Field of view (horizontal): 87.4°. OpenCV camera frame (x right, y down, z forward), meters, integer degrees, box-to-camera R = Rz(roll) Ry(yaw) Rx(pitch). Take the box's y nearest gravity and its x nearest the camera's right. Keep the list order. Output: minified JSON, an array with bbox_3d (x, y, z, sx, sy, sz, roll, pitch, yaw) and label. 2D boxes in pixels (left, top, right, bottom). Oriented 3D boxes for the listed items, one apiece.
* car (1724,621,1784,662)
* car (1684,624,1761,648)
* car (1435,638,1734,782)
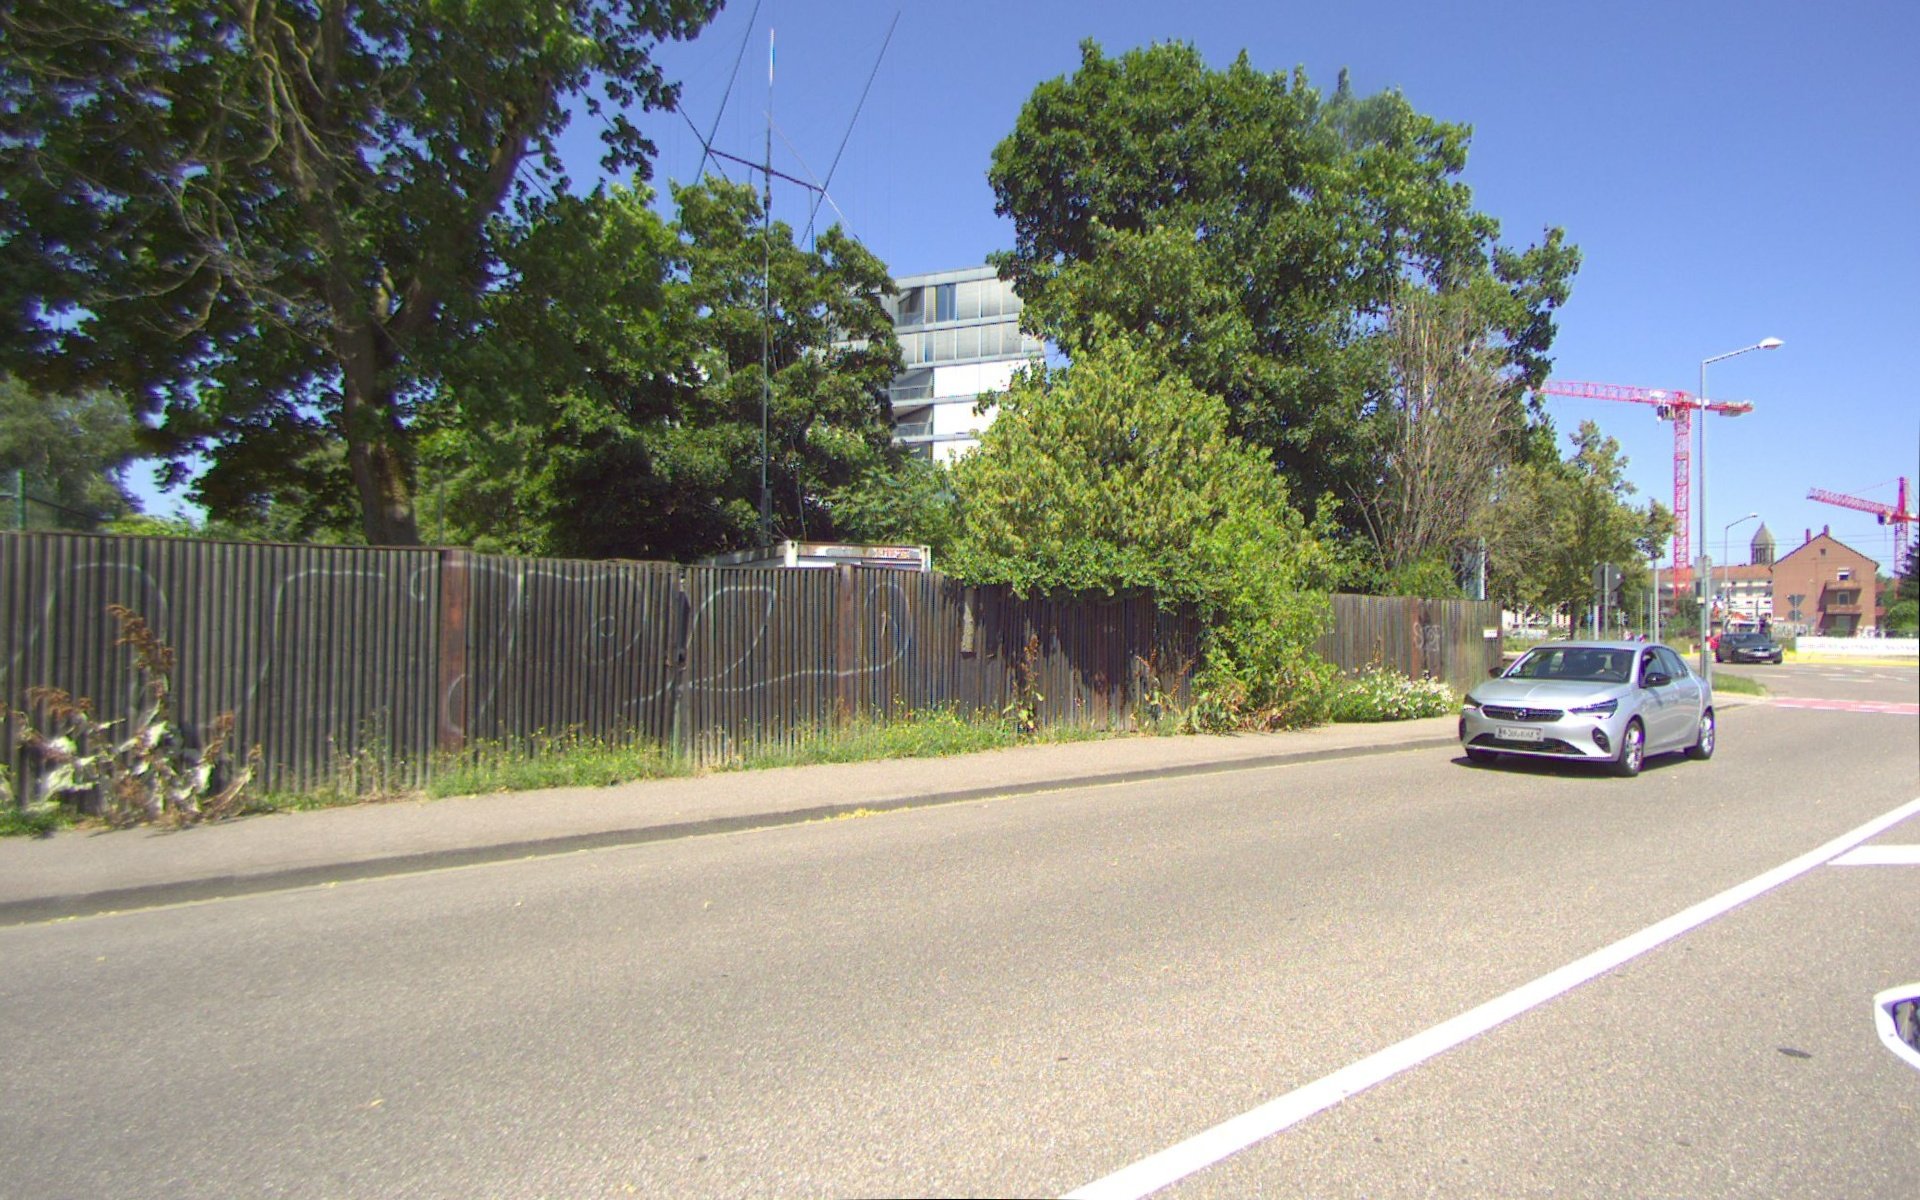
[{"bbox_3d":[36.531,1.892,46.199,1.732,1.728,3.975,2,0,44],"label":"car"},{"bbox_3d":[57.962,2.724,76.431,4.258,1.676,1.902,2,0,8],"label":"car"},{"bbox_3d":[7.620,1.189,12.114,4.233,1.421,1.714,1,-3,-38],"label":"car"}]
